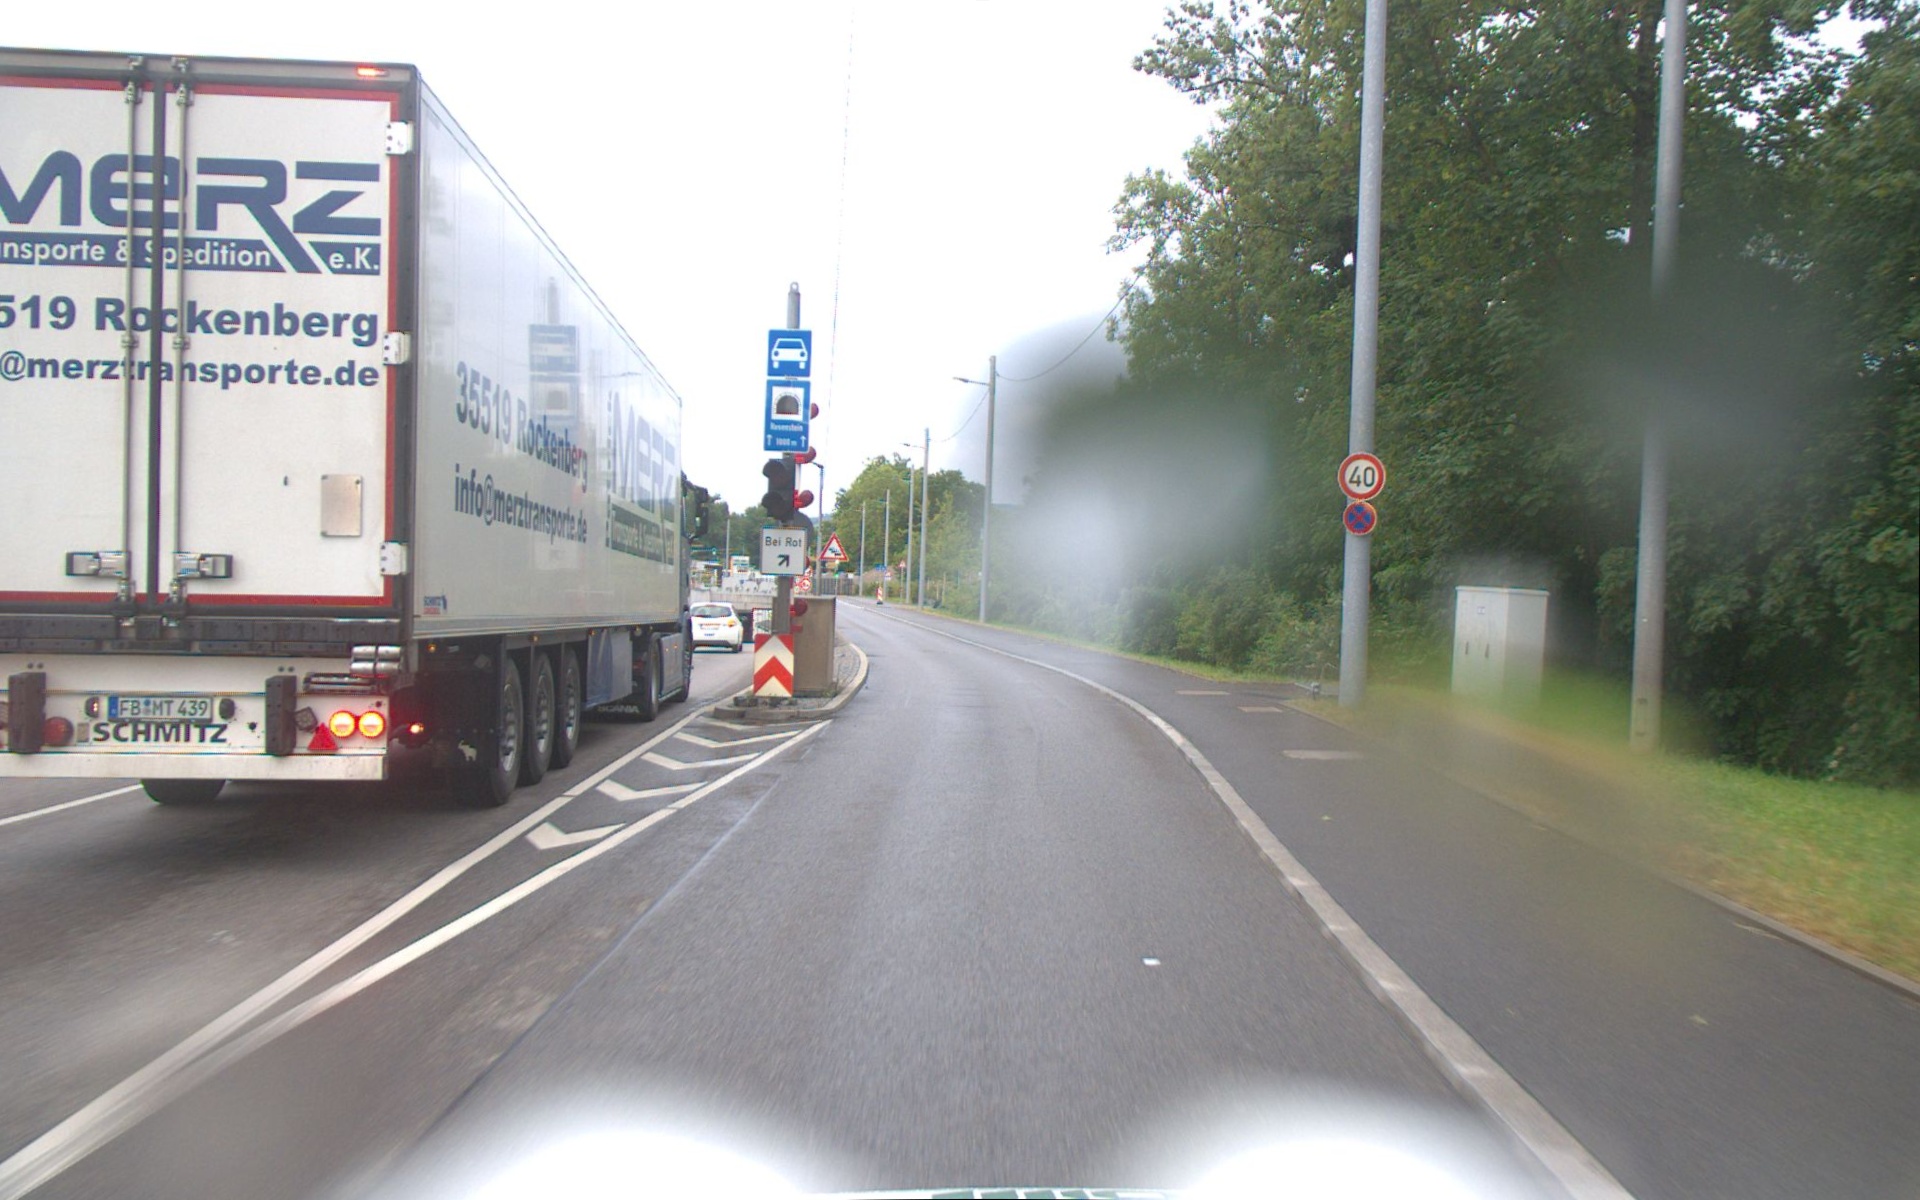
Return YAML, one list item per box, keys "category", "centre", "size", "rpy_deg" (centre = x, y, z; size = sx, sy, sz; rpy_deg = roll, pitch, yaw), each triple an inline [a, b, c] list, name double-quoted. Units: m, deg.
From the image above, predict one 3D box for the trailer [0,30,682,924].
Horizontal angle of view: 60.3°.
- category: "trailer"
  centre: [-4.466, -0.683, 14.633]
  size: [2.708, 4.327, 13.172]
  rpy_deg: [0, 1, -4]

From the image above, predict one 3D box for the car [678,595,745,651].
- category: "car"
  centre: [-7.385, 0.661, 49.397]
  size: [1.775, 1.448, 3.996]
  rpy_deg: [1, 2, -6]

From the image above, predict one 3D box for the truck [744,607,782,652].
- category: "truck"
  centre: [-18.935, 2.828, 159.574]
  size: [3.450, 4.110, 8.064]
  rpy_deg: [1, 0, -6]

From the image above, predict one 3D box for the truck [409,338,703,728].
- category: "truck"
  centre: [-4.941, -0.777, 21.420]
  size: [2.702, 4.278, 6.301]
  rpy_deg: [0, 1, -4]

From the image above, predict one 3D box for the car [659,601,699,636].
- category: "car"
  centre: [-13.532, 0.859, 79.834]
  size: [1.649, 1.471, 3.996]
  rpy_deg: [1, 2, -6]
